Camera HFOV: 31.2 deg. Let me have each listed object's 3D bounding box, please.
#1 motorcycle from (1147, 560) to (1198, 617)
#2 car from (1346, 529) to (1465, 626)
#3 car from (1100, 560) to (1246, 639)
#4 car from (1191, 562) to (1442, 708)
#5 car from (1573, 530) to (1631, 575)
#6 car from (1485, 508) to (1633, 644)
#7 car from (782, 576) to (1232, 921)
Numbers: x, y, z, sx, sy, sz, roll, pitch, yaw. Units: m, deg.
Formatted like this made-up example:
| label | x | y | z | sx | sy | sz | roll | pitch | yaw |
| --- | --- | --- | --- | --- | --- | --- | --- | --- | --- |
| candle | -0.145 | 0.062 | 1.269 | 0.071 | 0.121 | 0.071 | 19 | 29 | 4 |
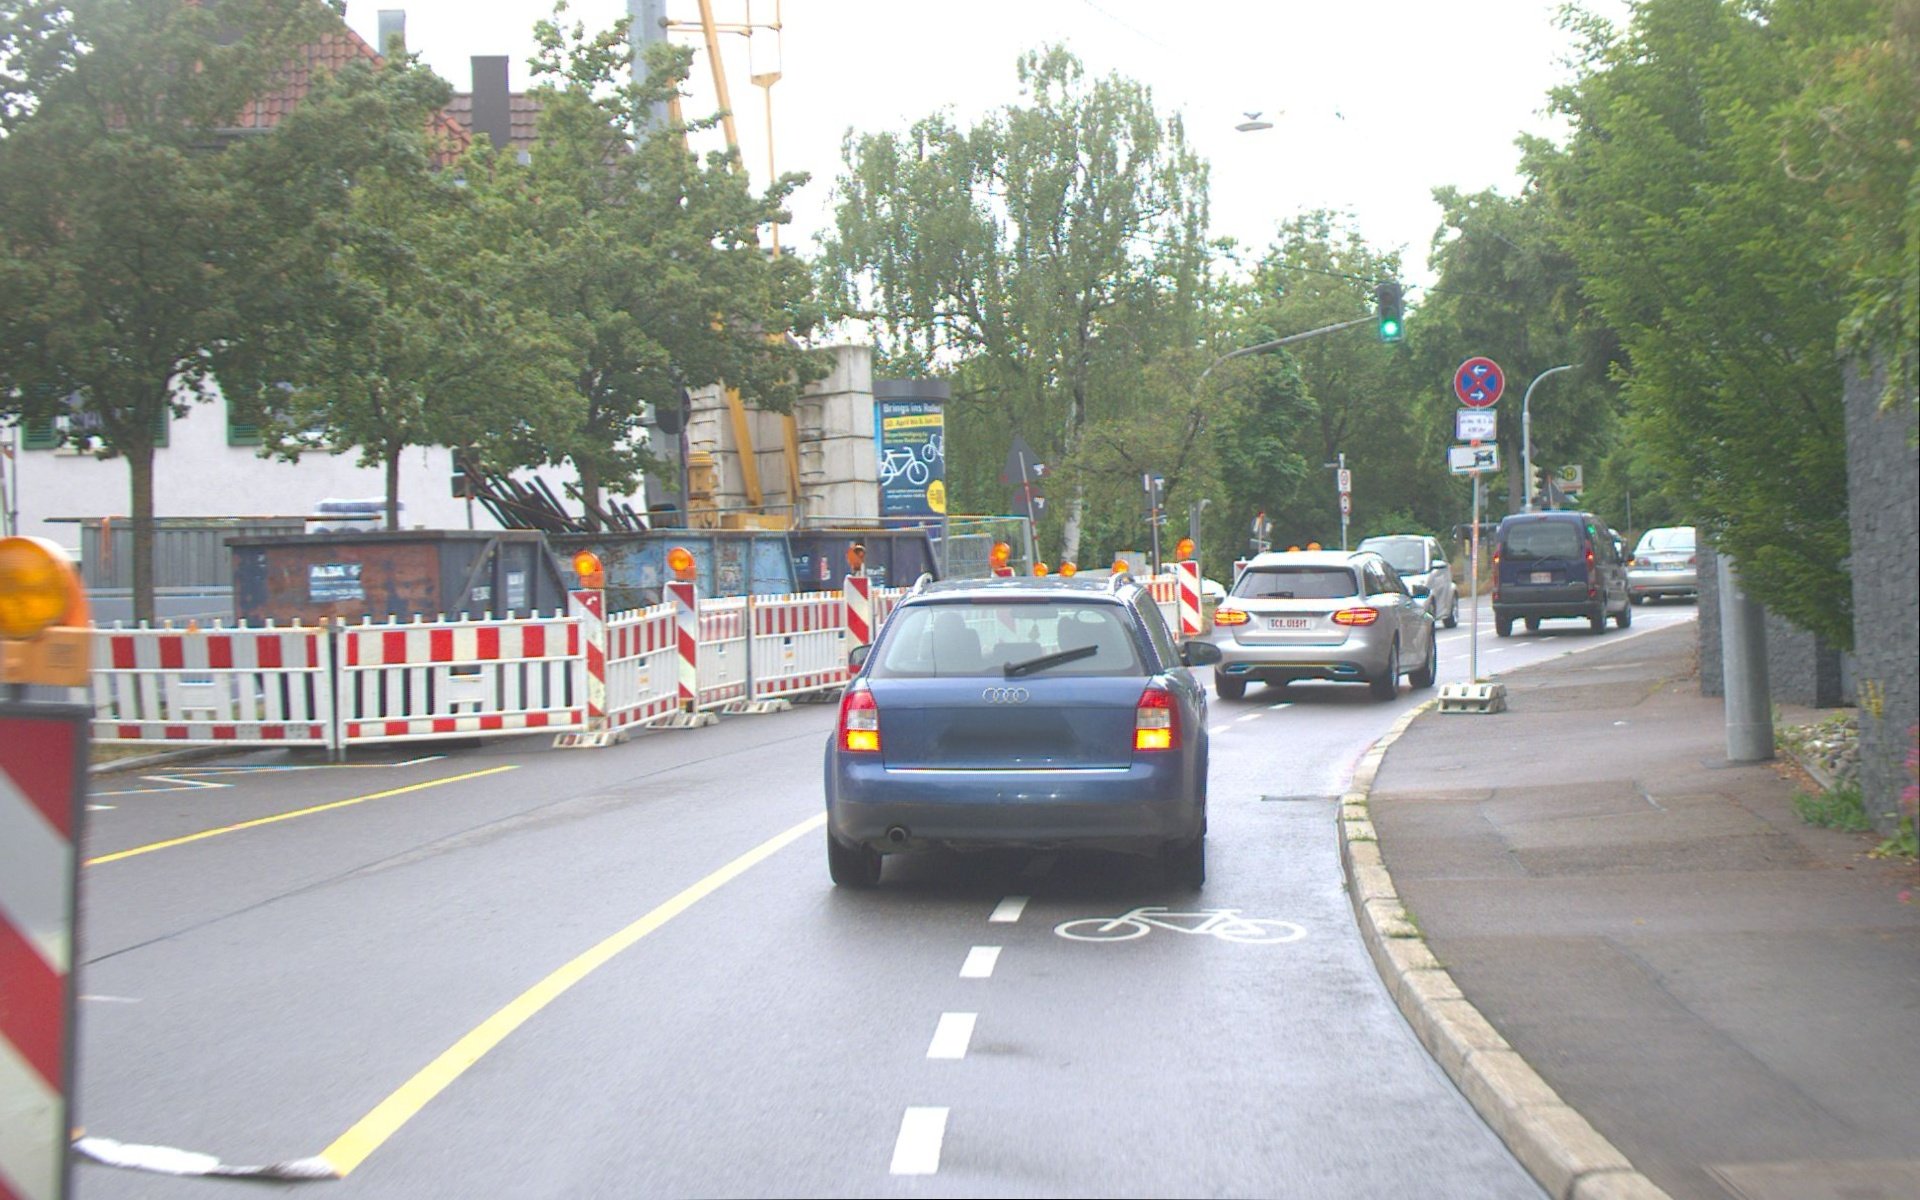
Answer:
| label | x | y | z | sx | sy | sz | roll | pitch | yaw |
| --- | --- | --- | --- | --- | --- | --- | --- | --- | --- |
| motorcycle | 4.531 | -0.251 | 73.073 | 0.591 | 1.127 | 1.842 | -3 | 0 | 17 |
| car | 7.225 | -0.370 | 55.598 | 1.457 | 1.521 | 2.921 | 0 | 1 | 17 |
| car | 4.932 | 0.002 | 80.194 | 1.683 | 1.504 | 4.012 | -5 | -1 | -22 |
| car | 3.699 | 0.317 | 35.010 | 1.910 | 1.384 | 4.347 | 0 | 0 | 15 |
| car | 22.244 | -1.667 | 119.267 | 1.674 | 1.422 | 3.999 | -4 | 0 | 8 |
| car | 9.141 | -0.402 | 52.247 | 1.731 | 1.888 | 4.052 | -4 | 0 | 15 |
| car | 0.354 | 0.620 | 16.783 | 1.777 | 1.434 | 3.999 | 1 | 1 | 7 |
